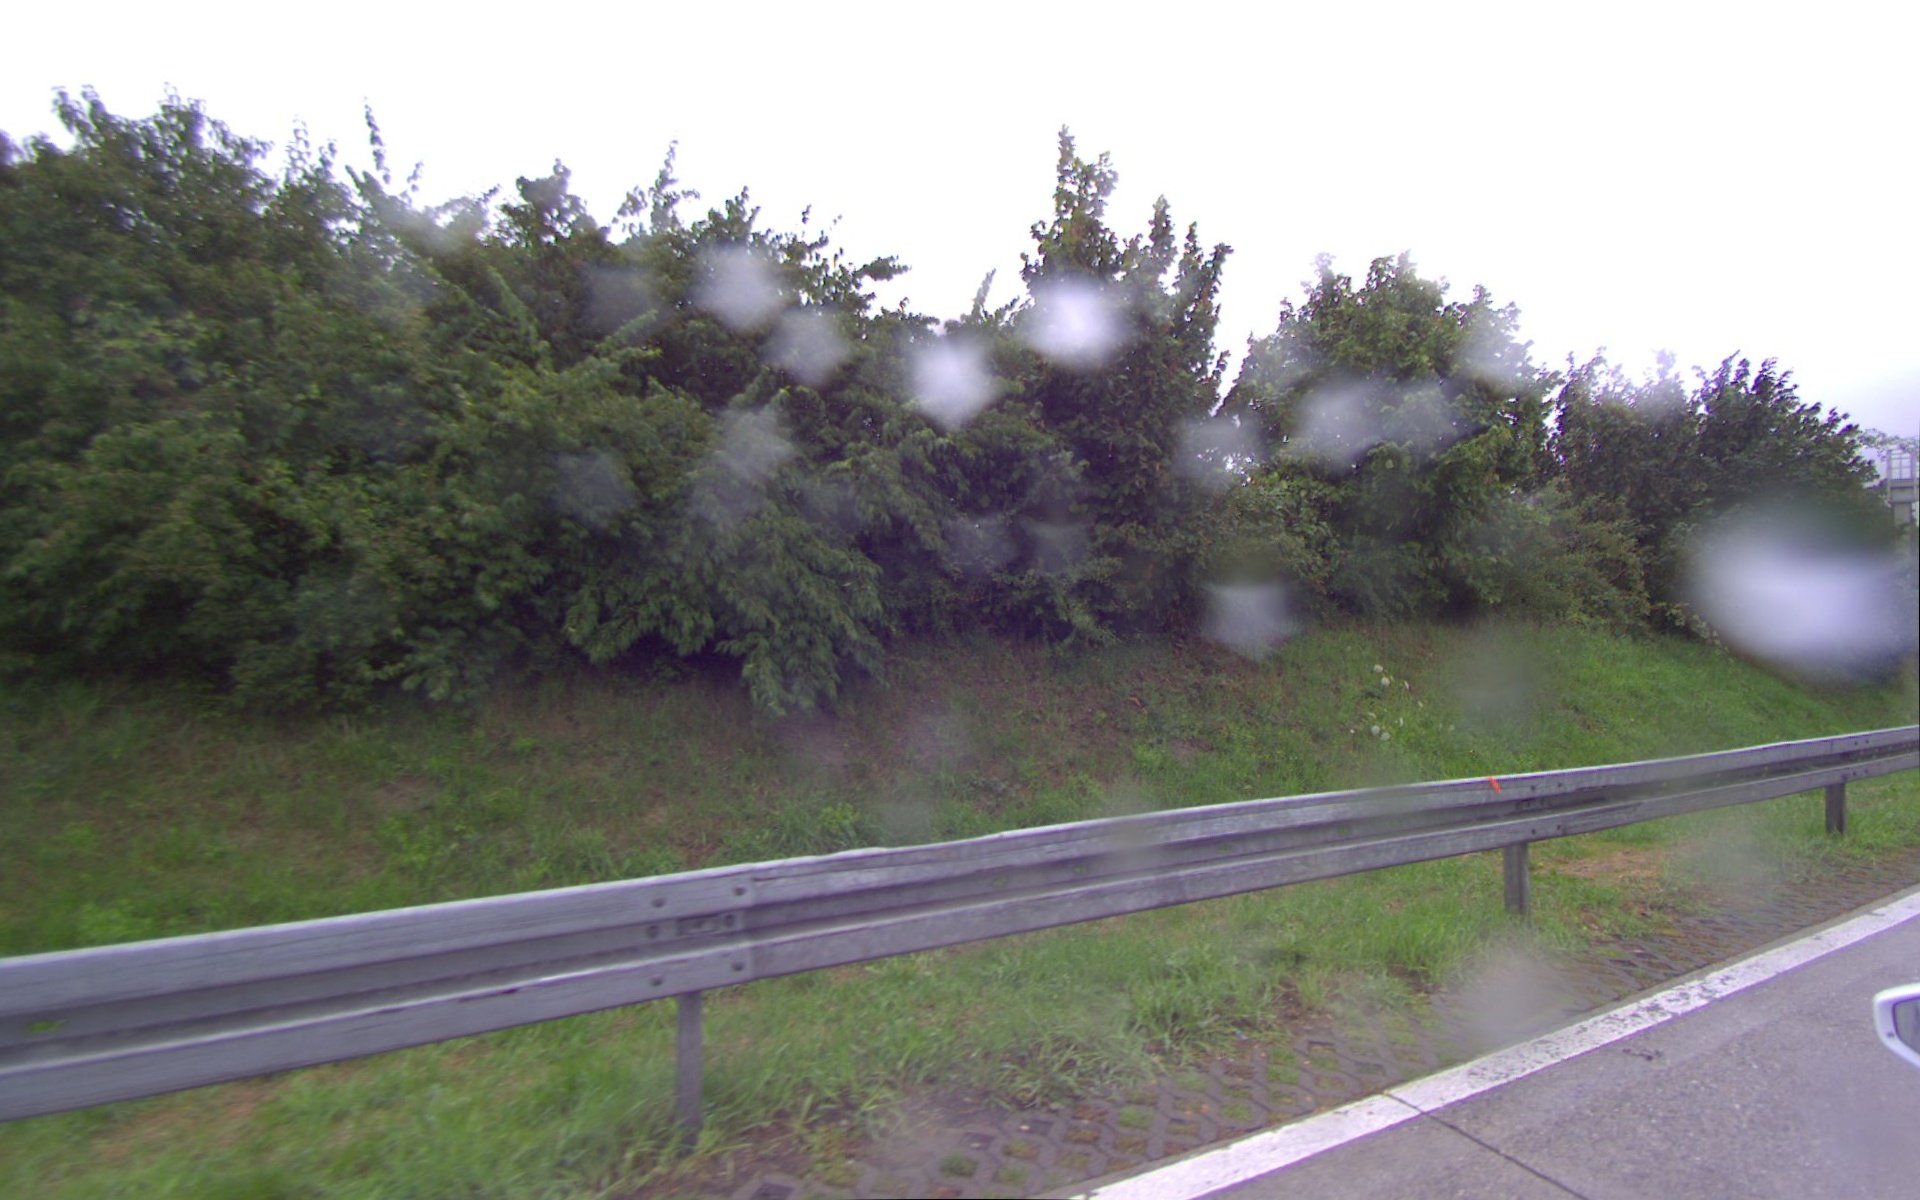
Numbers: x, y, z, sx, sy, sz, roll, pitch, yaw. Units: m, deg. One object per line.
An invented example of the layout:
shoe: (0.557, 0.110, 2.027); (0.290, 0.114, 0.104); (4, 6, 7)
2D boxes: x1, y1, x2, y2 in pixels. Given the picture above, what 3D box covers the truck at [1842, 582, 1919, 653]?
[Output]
truck: (53.396, 0.942, 55.955); (11.658, 3.635, 2.818); (0, -3, -30)
